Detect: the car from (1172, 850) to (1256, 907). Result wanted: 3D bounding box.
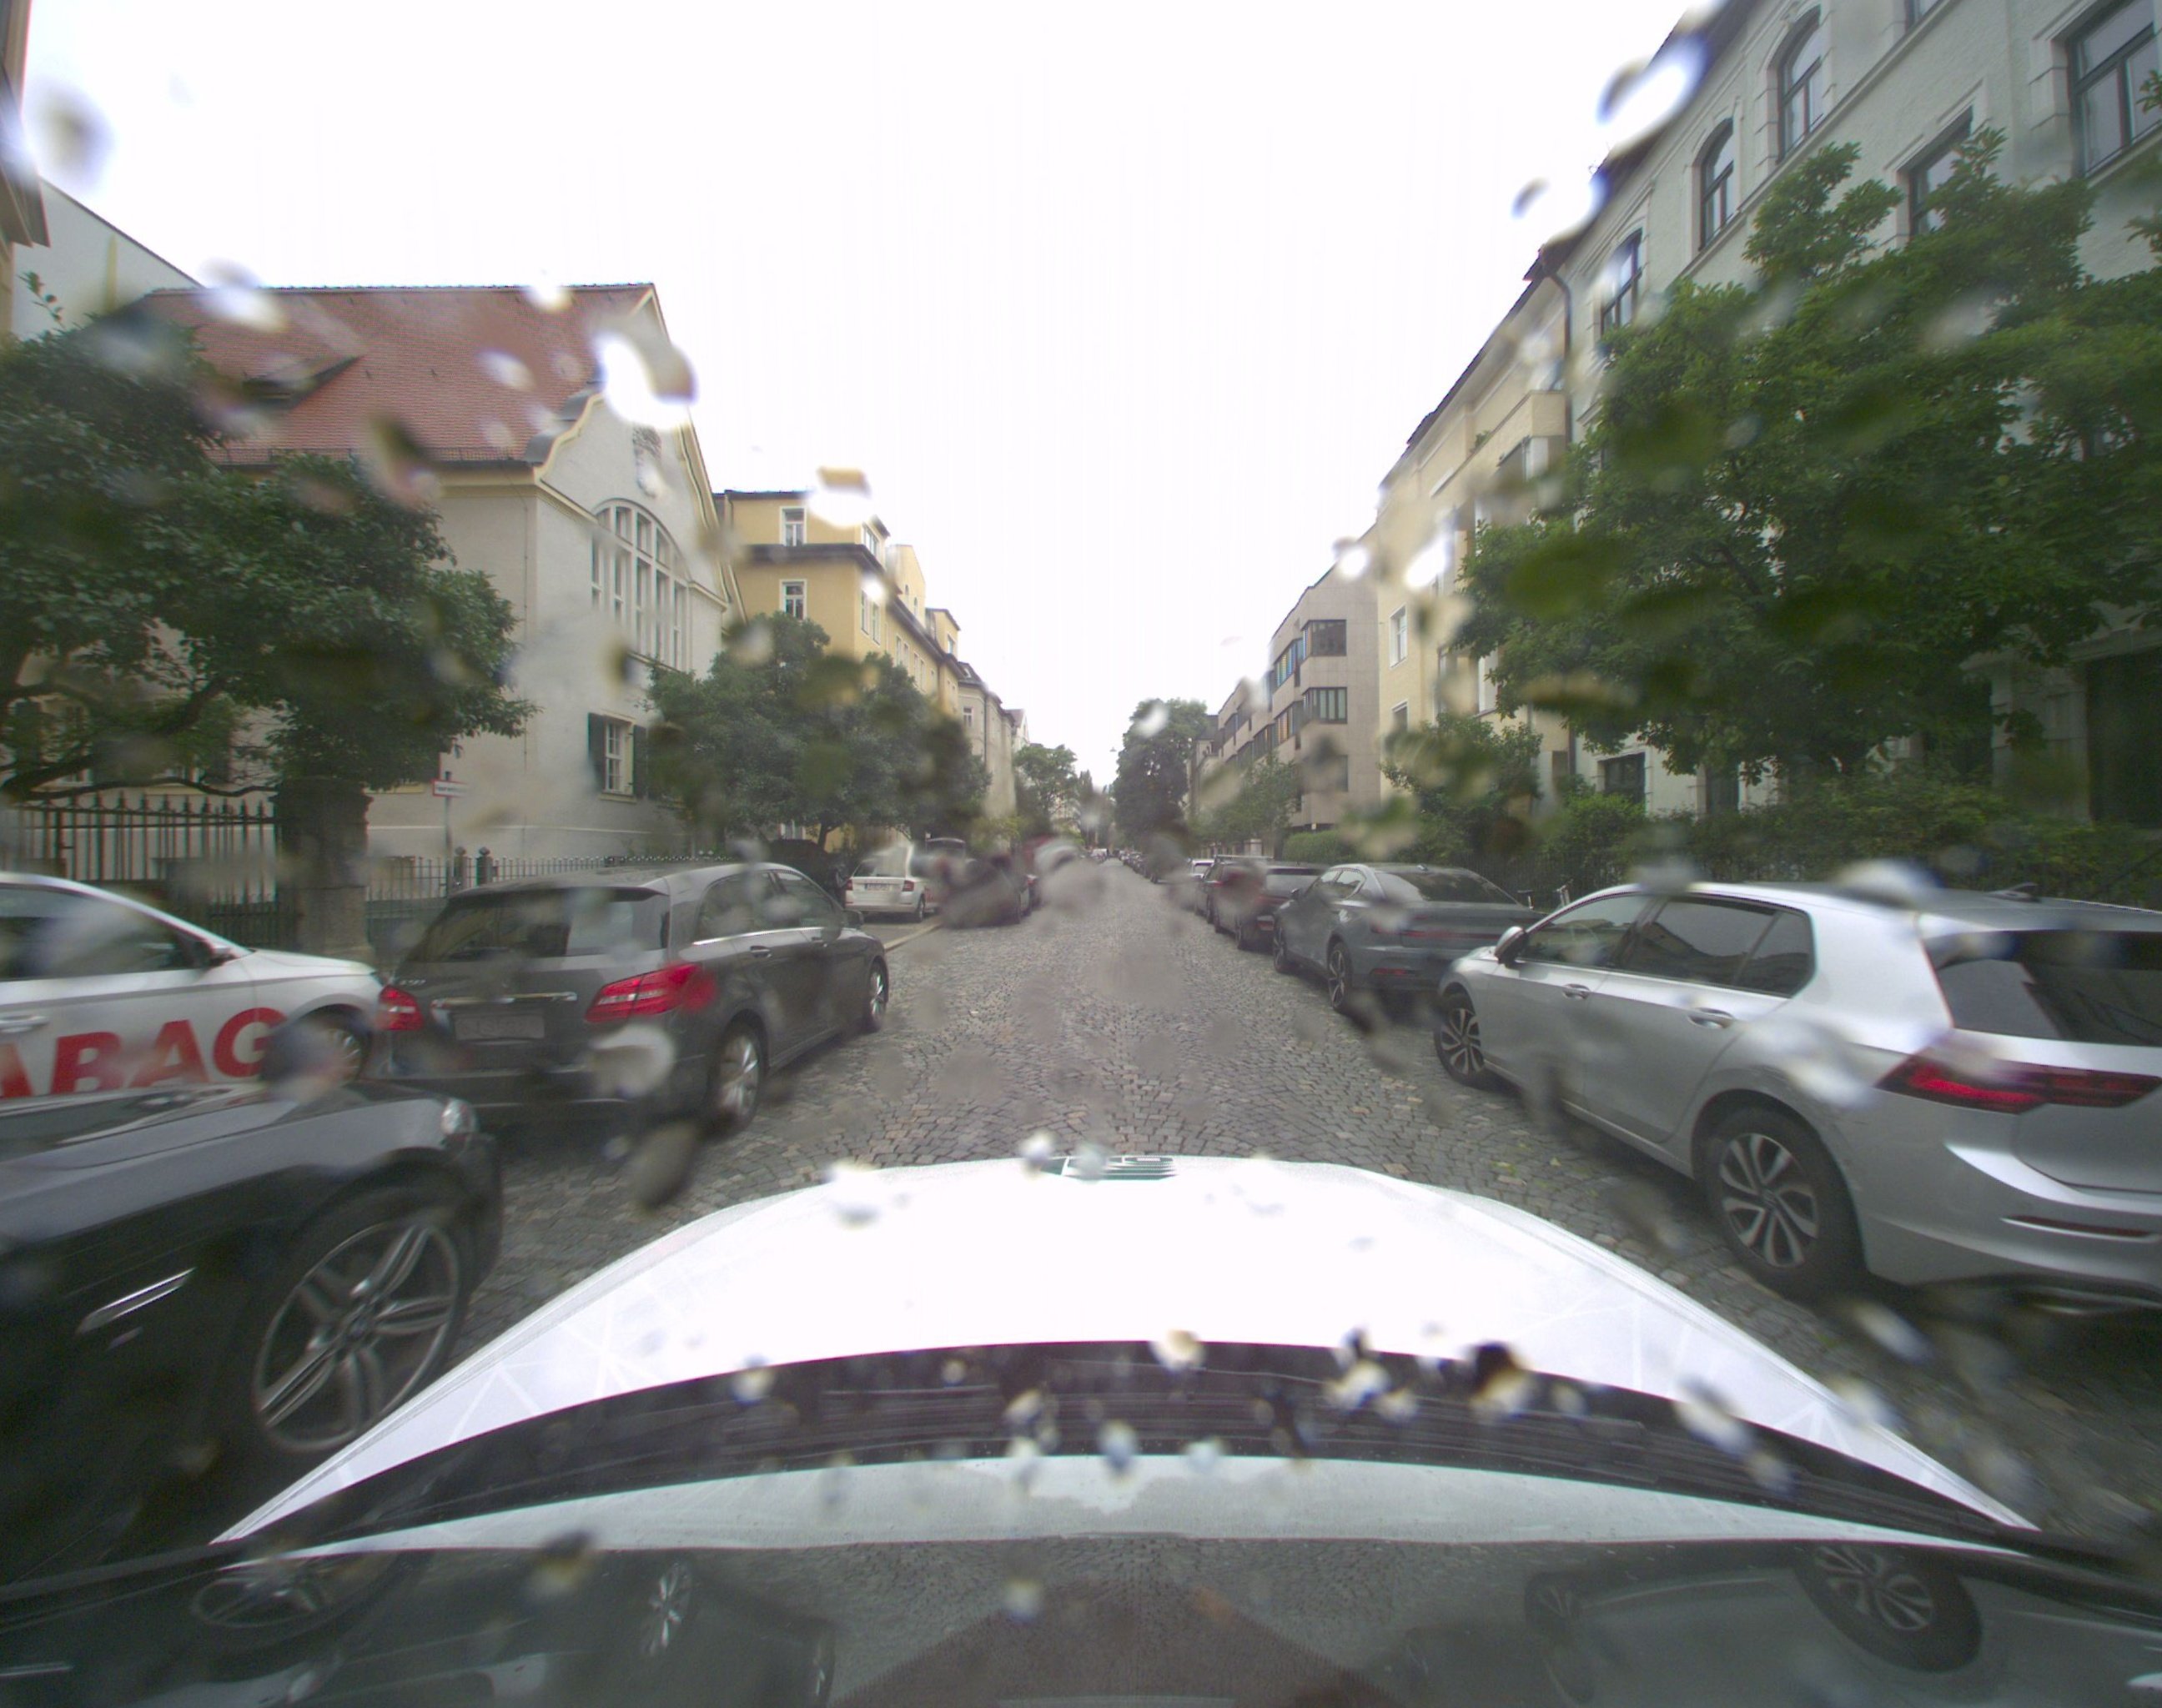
[{"bbox_3d":[3.922,0.666,24.846,1.985,1.552,4.990,1,0,3],"label":"car"}]

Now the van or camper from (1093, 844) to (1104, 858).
[{"bbox_3d":[3.445,-0.543,162.653,1.985,2.652,4.003,-3,0,3],"label":"van or camper"}]

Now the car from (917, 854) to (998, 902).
[{"bbox_3d":[-3.988,0.721,27.076,1.768,1.417,4.565,1,0,3],"label":"car"}]

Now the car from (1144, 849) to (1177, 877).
[{"bbox_3d":[5.275,0.568,54.732,1.853,1.702,4.816,2,0,2],"label":"car"}]

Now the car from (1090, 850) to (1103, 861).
[{"bbox_3d":[2.448,0.275,130.131,1.867,1.580,4.255,-3,0,0],"label":"car"}]

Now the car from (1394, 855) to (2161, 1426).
[{"bbox_3d":[3.322,0.762,4.336,1.748,1.460,4.483,2,0,3],"label":"car"}]

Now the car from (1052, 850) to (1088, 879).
[{"bbox_3d":[-0.668,0.660,54.059,1.998,1.809,5.178,-3,0,3],"label":"car"}]

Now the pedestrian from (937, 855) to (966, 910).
[{"bbox_3d":[-3.926,0.855,24.696,0.762,1.650,0.583,0,0,3],"label":"pedestrian"}]

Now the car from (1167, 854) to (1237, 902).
[{"bbox_3d":[4.346,0.821,30.080,1.986,1.552,5.017,2,0,2],"label":"car"}]

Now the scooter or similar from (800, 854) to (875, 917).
[{"bbox_3d":[-6.354,0.774,21.439,1.058,1.523,2.636,-1,0,2],"label":"scooter or similar"}]

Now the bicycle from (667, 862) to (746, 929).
[{"bbox_3d":[-7.702,0.818,16.847,0.603,1.259,2.061,0,0,2],"label":"bicycle"}]

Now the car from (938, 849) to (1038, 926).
[{"bbox_3d":[-2.123,0.730,19.837,1.733,1.603,4.538,-2,0,1],"label":"car"}]

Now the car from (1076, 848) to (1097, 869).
[{"bbox_3d":[0.645,0.452,85.073,1.986,1.917,5.179,-4,0,1],"label":"car"}]

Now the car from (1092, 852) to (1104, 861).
[{"bbox_3d":[3.110,0.477,147.712,1.864,1.580,4.214,1,0,5],"label":"car"}]

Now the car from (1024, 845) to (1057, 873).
[{"bbox_3d":[-2.907,0.367,59.743,1.987,1.931,5.332,1,0,1],"label":"car"}]

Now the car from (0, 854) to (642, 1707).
[{"bbox_3d":[-2.714,0.766,0.636,1.863,1.470,5.134,-2,0,1],"label":"car"}]

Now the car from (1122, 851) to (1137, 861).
[{"bbox_3d":[7.244,0.273,121.729,1.867,1.503,4.511,2,0,0],"label":"car"}]

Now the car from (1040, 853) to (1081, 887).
[{"bbox_3d":[-0.984,0.748,40.687,1.707,1.562,4.392,-3,0,2],"label":"car"}]

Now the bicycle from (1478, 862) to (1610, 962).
[{"bbox_3d":[6.075,0.718,10.794,0.580,1.195,1.641,0,0,-12],"label":"bicycle"}]

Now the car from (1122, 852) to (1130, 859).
[{"bbox_3d":[10.101,0.331,183.400,1.783,1.520,4.003,-1,0,3],"label":"car"}]

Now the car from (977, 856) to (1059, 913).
[{"bbox_3d":[-1.802,0.842,24.968,1.807,1.455,4.917,-3,0,3],"label":"car"}]

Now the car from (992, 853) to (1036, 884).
[{"bbox_3d":[-3.413,0.701,42.244,1.708,1.497,4.724,1,0,2],"label":"car"}]

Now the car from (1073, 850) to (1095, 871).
[{"bbox_3d":[0.269,0.580,73.517,1.859,1.735,4.402,-3,0,0],"label":"car"}]

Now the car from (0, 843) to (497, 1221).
[{"bbox_3d":[-5.091,0.683,3.512,1.834,1.466,4.392,0,0,2],"label":"car"}]

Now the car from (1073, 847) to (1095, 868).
[{"bbox_3d":[0.310,0.340,78.661,1.866,1.917,4.829,-3,0,1],"label":"car"}]

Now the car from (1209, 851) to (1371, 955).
[{"bbox_3d":[3.527,0.737,14.725,1.811,1.488,5.053,2,0,3],"label":"car"}]

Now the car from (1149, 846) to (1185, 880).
[{"bbox_3d":[4.842,0.479,46.261,1.613,1.751,3.888,2,0,1],"label":"car"}]

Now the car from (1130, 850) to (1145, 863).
[{"bbox_3d":[7.170,0.333,104.011,1.829,1.490,4.425,2,0,3],"label":"car"}]

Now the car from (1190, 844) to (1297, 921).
[{"bbox_3d":[3.839,0.613,19.925,1.886,1.654,4.296,1,0,2],"label":"car"}]

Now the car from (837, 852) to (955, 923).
[{"bbox_3d":[-4.364,0.729,19.922,1.733,1.536,4.468,1,0,1],"label":"car"}]

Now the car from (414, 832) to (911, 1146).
[{"bbox_3d":[-2.641,0.711,6.397,1.734,1.586,4.190,-2,0,-1],"label":"car"}]

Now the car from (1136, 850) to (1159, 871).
[{"bbox_3d":[5.792,0.521,71.275,1.865,1.735,4.896,1,0,4],"label":"car"}]

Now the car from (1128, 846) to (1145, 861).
[{"bbox_3d":[7.440,-0.058,109.719,1.867,1.928,5.163,2,0,0],"label":"car"}]

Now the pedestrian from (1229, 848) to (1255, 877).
[{"bbox_3d":[8.812,0.448,44.697,1.211,1.493,1.131,-3,0,4],"label":"pedestrian"}]

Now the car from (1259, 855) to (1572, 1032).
[{"bbox_3d":[3.472,0.792,9.587,1.875,1.488,4.817,2,0,3],"label":"car"}]
